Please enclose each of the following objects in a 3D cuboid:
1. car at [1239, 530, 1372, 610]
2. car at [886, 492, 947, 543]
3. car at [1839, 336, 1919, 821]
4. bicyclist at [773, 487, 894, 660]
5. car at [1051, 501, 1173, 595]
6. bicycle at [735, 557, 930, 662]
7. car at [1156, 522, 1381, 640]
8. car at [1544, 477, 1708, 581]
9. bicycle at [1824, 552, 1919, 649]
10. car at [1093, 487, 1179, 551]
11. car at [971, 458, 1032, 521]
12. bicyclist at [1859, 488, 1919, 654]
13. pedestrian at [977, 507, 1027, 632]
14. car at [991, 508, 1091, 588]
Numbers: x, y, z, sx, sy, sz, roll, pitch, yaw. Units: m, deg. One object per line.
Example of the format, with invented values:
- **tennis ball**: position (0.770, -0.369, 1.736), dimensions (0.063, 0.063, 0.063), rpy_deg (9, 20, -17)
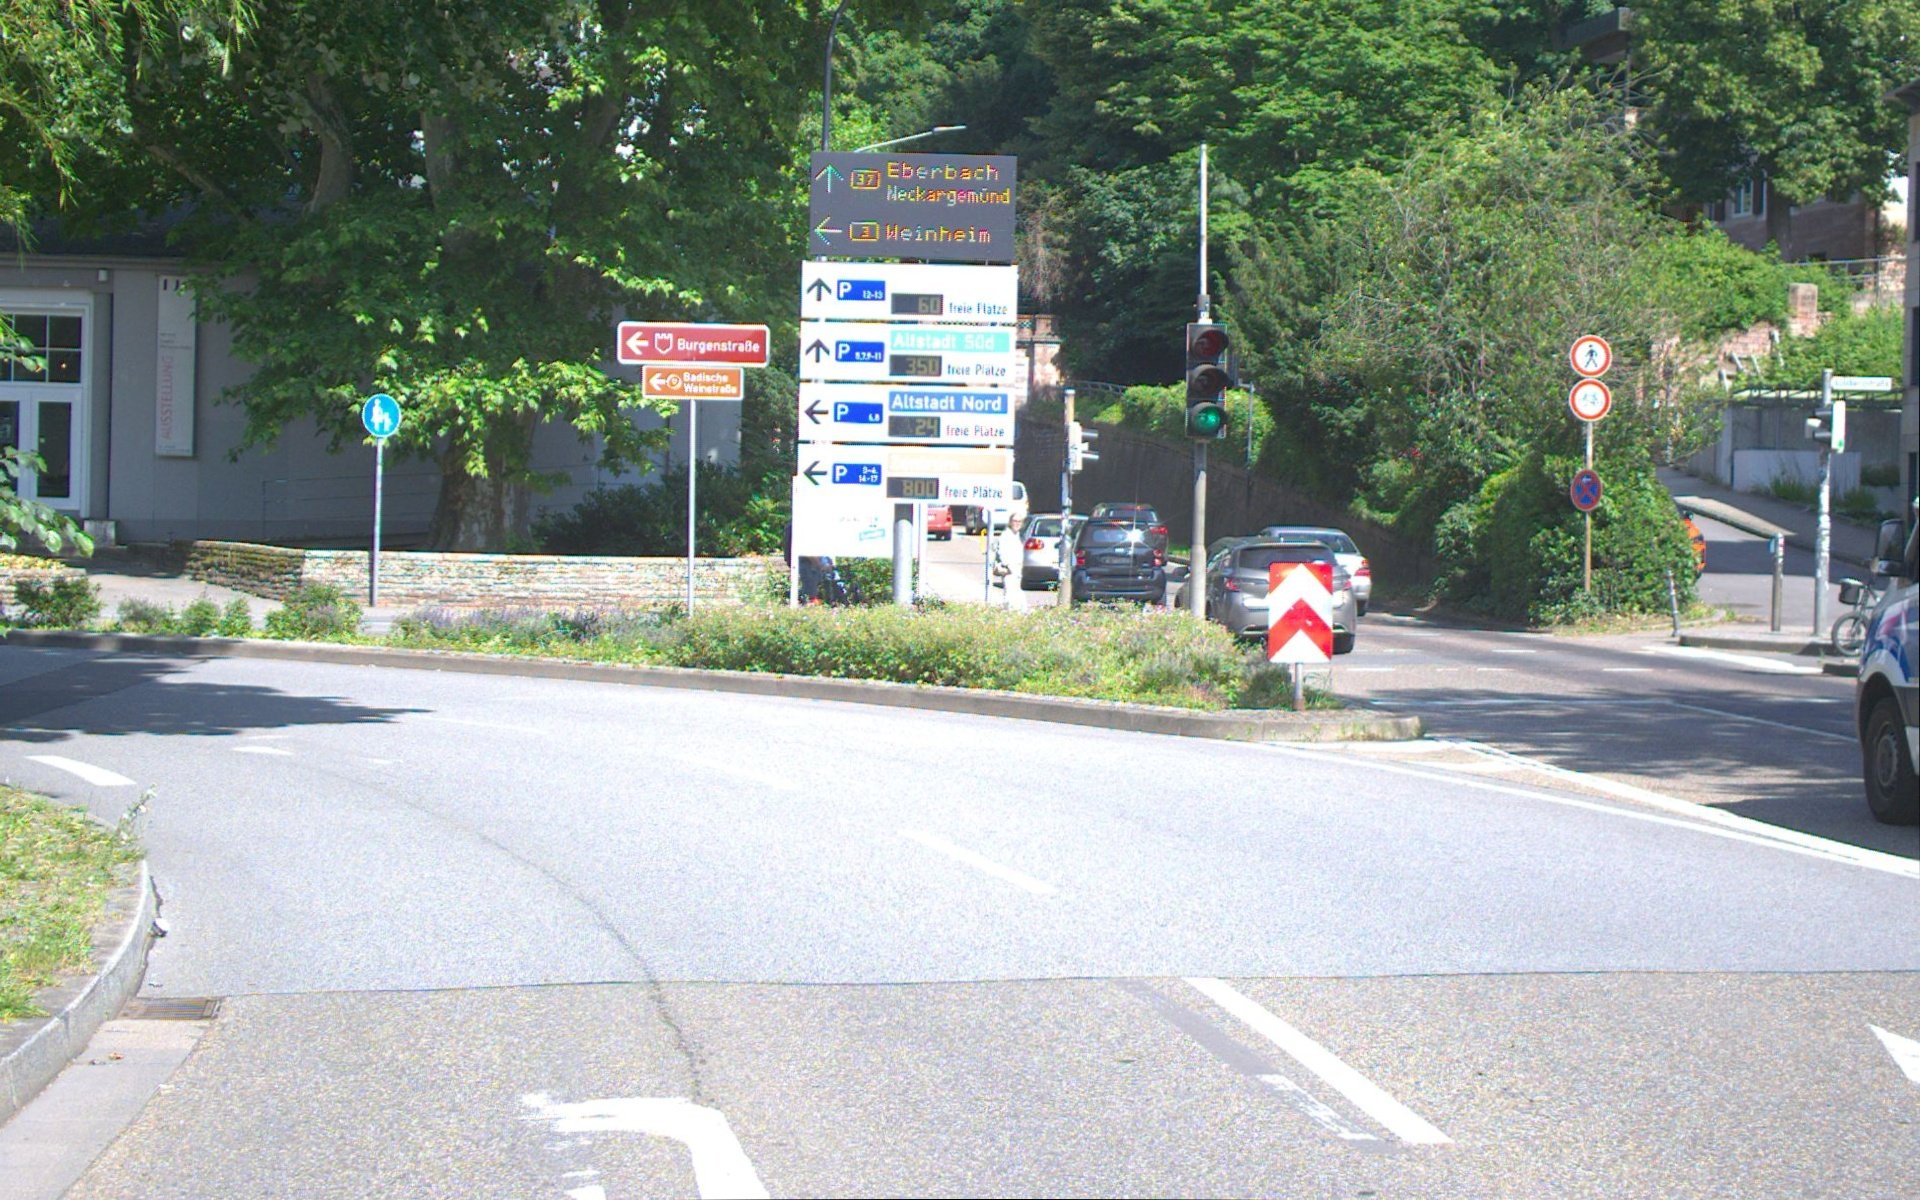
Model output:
- **car**: position (5.718, -0.514, 57.211), dimensions (1.756, 1.209, 3.494), rpy_deg (1, 2, -1)
- **car**: position (-1.330, -2.495, 103.070), dimensions (1.756, 1.456, 3.494), rpy_deg (1, 2, -1)
- **car**: position (6.041, -0.062, 16.546), dimensions (2.073, 2.500, 4.930), rpy_deg (2, 1, -3)
- **bicyclist**: position (-1.443, -0.306, 39.177), dimensions (1.127, 1.926, 0.747), rpy_deg (2, 1, 24)
- **car**: position (2.494, -0.884, 57.010), dimensions (1.756, 1.456, 3.494), rpy_deg (1, 2, -1)
- **bicycle**: position (-1.452, 0.097, 39.179), dimensions (2.079, 1.109, 0.756), rpy_deg (2, 2, 24)
- **car**: position (3.785, -0.266, 42.792), dimensions (1.755, 1.329, 3.803), rpy_deg (1, 2, -11)
- **car**: position (11.293, -1.208, 58.536), dimensions (1.931, 1.691, 4.000), rpy_deg (1, 1, -1)
- **bicycle**: position (11.329, 0.013, 40.670), dimensions (2.077, 1.109, 0.756), rpy_deg (2, 2, 11)
- **car**: position (4.216, -1.971, 82.824), dimensions (1.756, 1.456, 3.646), rpy_deg (1, 2, -1)
- **car**: position (1.296, -3.510, 109.061), dimensions (1.756, 1.931, 3.494), rpy_deg (1, 2, -1)
- **bicyclist**: position (11.259, -0.340, 40.675), dimensions (1.126, 1.926, 0.748), rpy_deg (2, 1, 12)
- **pedestrian**: position (0.550, -0.404, 44.905), dimensions (0.547, 1.615, 0.634), rpy_deg (1, 2, 8)
- **car**: position (1.547, -1.024, 66.793), dimensions (1.756, 1.456, 3.646), rpy_deg (1, 2, -1)
